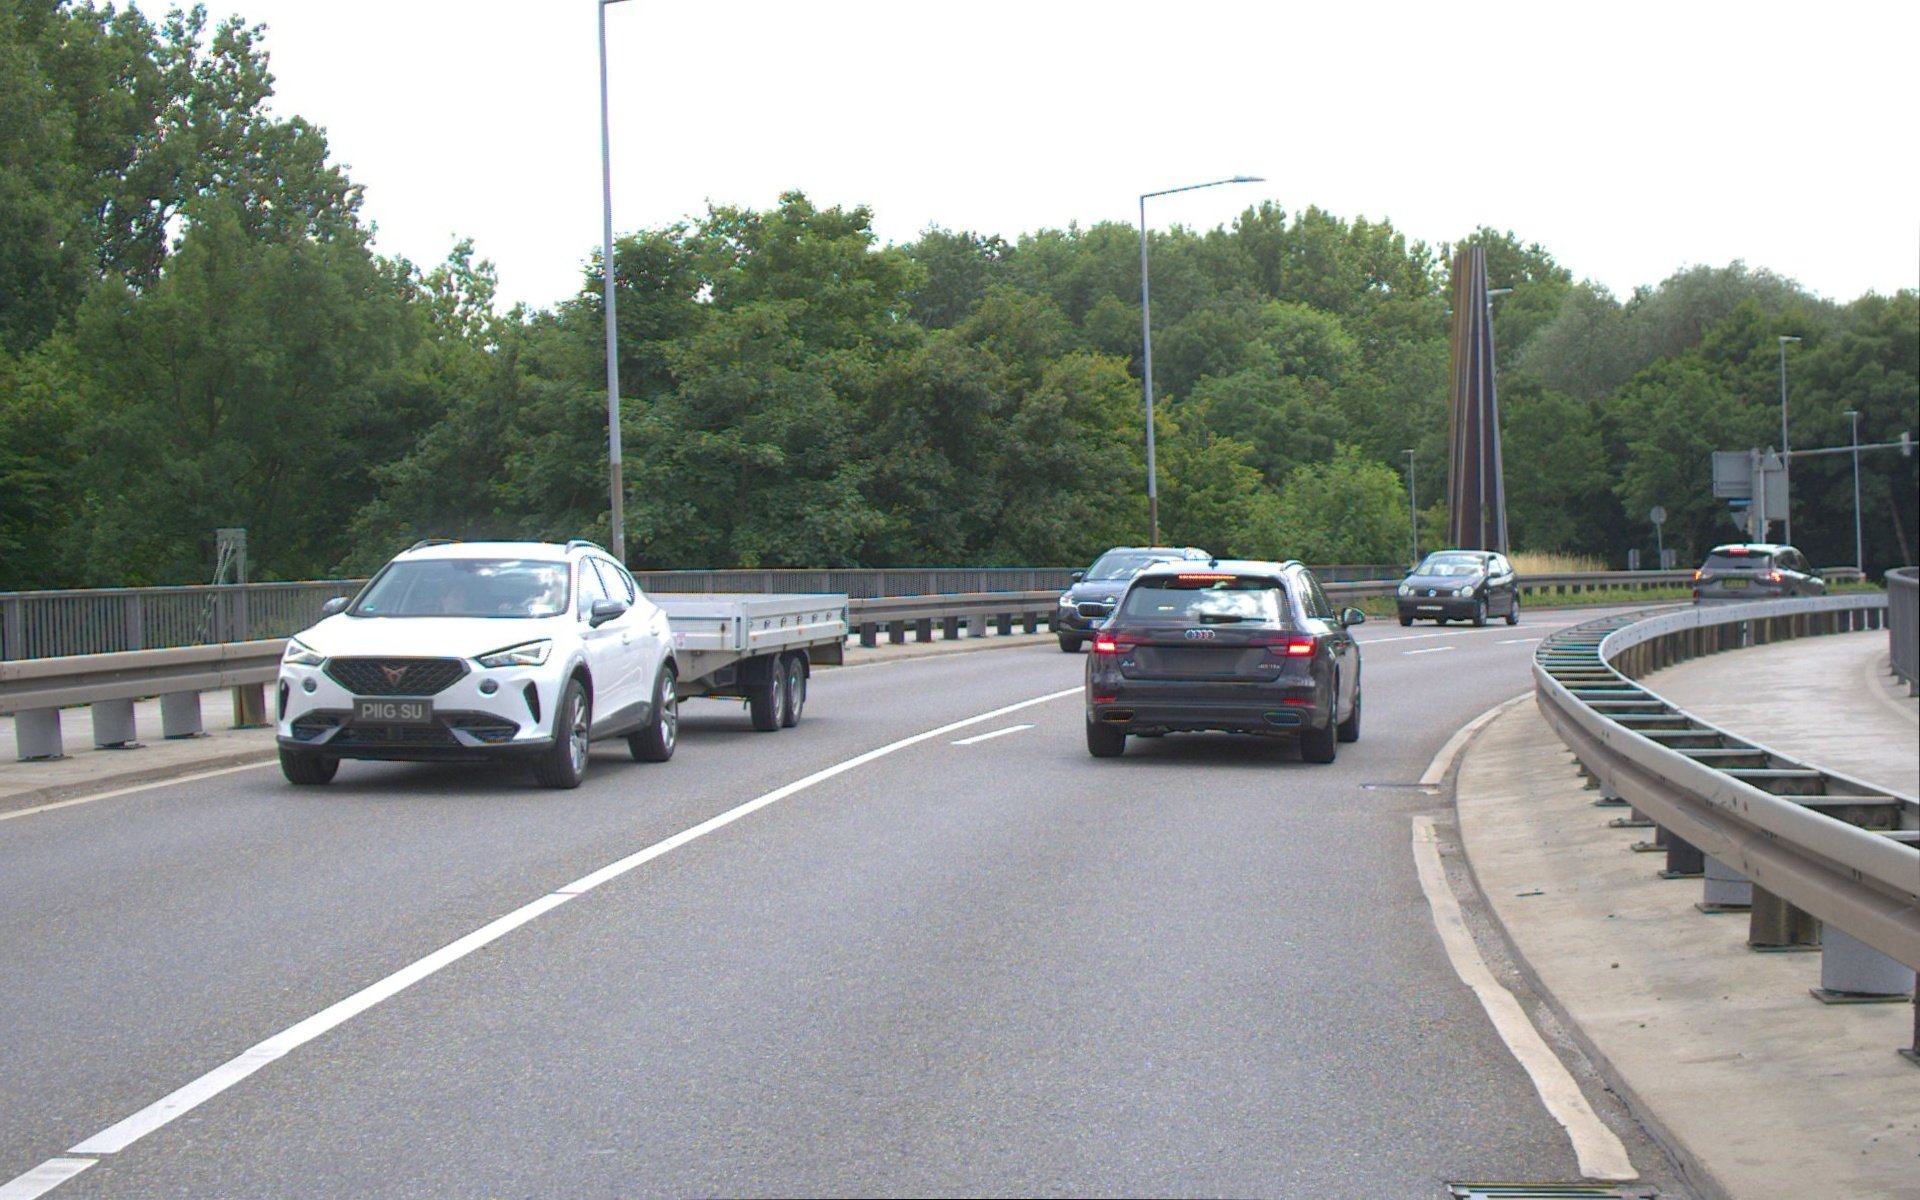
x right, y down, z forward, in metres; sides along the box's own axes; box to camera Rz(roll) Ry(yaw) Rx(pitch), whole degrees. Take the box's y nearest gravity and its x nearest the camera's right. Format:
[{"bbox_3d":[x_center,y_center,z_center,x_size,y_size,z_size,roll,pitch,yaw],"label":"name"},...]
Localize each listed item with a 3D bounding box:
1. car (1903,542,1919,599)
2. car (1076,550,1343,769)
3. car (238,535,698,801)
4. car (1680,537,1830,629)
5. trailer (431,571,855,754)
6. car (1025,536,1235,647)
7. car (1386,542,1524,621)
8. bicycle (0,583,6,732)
[{"bbox_3d":[31.241,-0.901,107.842,1.817,1.748,4.297,2,2,35],"label":"car"},{"bbox_3d":[1.941,0.382,25.822,1.828,1.486,4.206,1,1,6],"label":"car"},{"bbox_3d":[-3.059,0.353,22.324,1.807,1.530,4.347,1,1,8],"label":"car"},{"bbox_3d":[15.184,-0.347,65.534,1.824,1.646,3.850,2,2,28],"label":"car"},{"bbox_3d":[-2.360,0.417,27.477,2.046,1.205,5.981,1,1,8],"label":"trailer"},{"bbox_3d":[2.489,-0.159,49.141,1.819,1.446,4.733,1,2,18],"label":"car"},{"bbox_3d":[9.594,-0.383,66.414,1.816,1.447,3.922,2,1,21],"label":"car"},{"bbox_3d":[-7.471,0.435,24.308,0.769,1.091,2.115,0,1,3],"label":"bicycle"}]
